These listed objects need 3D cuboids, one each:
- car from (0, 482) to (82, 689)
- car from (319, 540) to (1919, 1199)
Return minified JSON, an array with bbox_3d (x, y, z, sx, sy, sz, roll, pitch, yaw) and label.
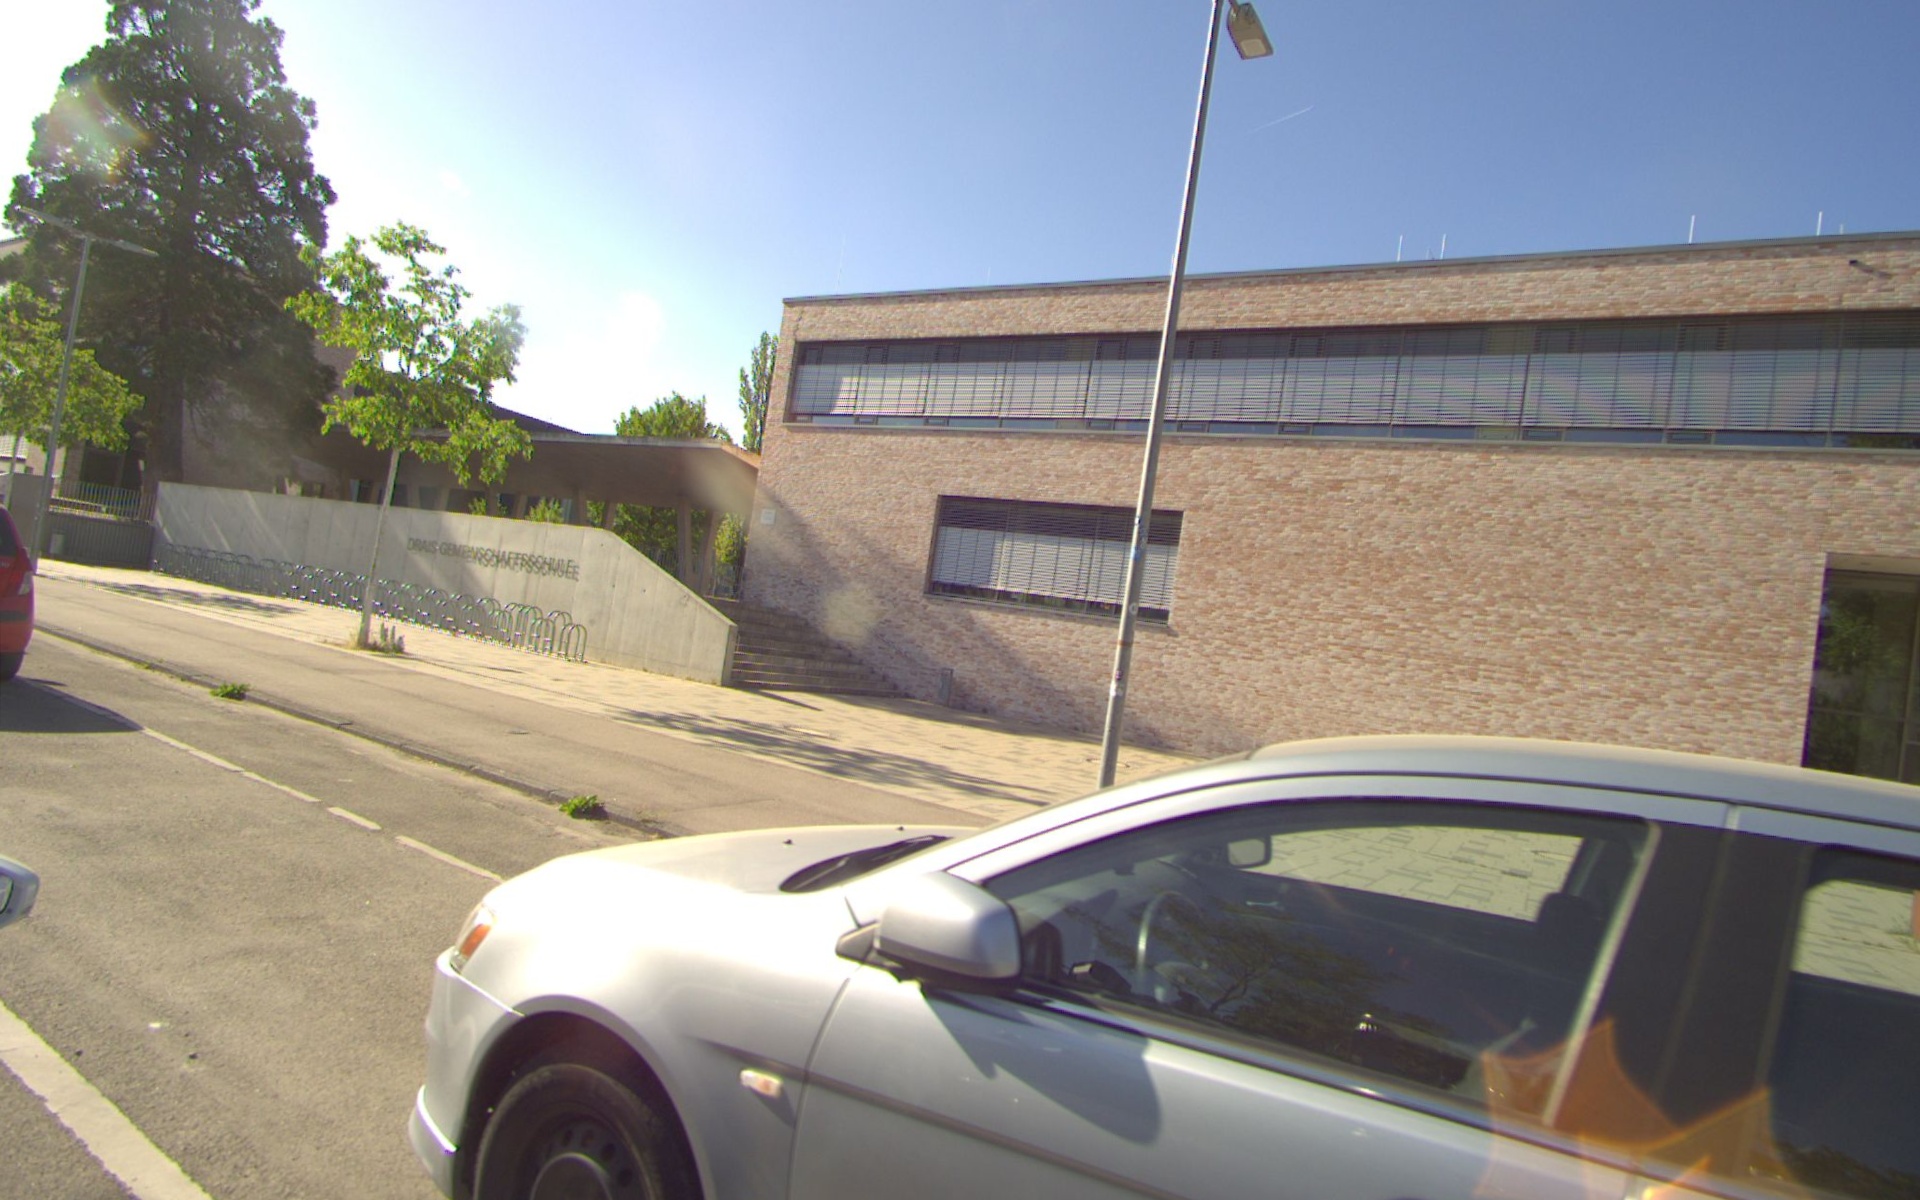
[{"bbox_3d":[-9.236,-0.358,8.414,3.530,1.606,1.624,8,-2,30],"label":"car"},{"bbox_3d":[0.828,0.922,1.918,4.104,1.494,1.706,7,-3,32],"label":"car"}]
